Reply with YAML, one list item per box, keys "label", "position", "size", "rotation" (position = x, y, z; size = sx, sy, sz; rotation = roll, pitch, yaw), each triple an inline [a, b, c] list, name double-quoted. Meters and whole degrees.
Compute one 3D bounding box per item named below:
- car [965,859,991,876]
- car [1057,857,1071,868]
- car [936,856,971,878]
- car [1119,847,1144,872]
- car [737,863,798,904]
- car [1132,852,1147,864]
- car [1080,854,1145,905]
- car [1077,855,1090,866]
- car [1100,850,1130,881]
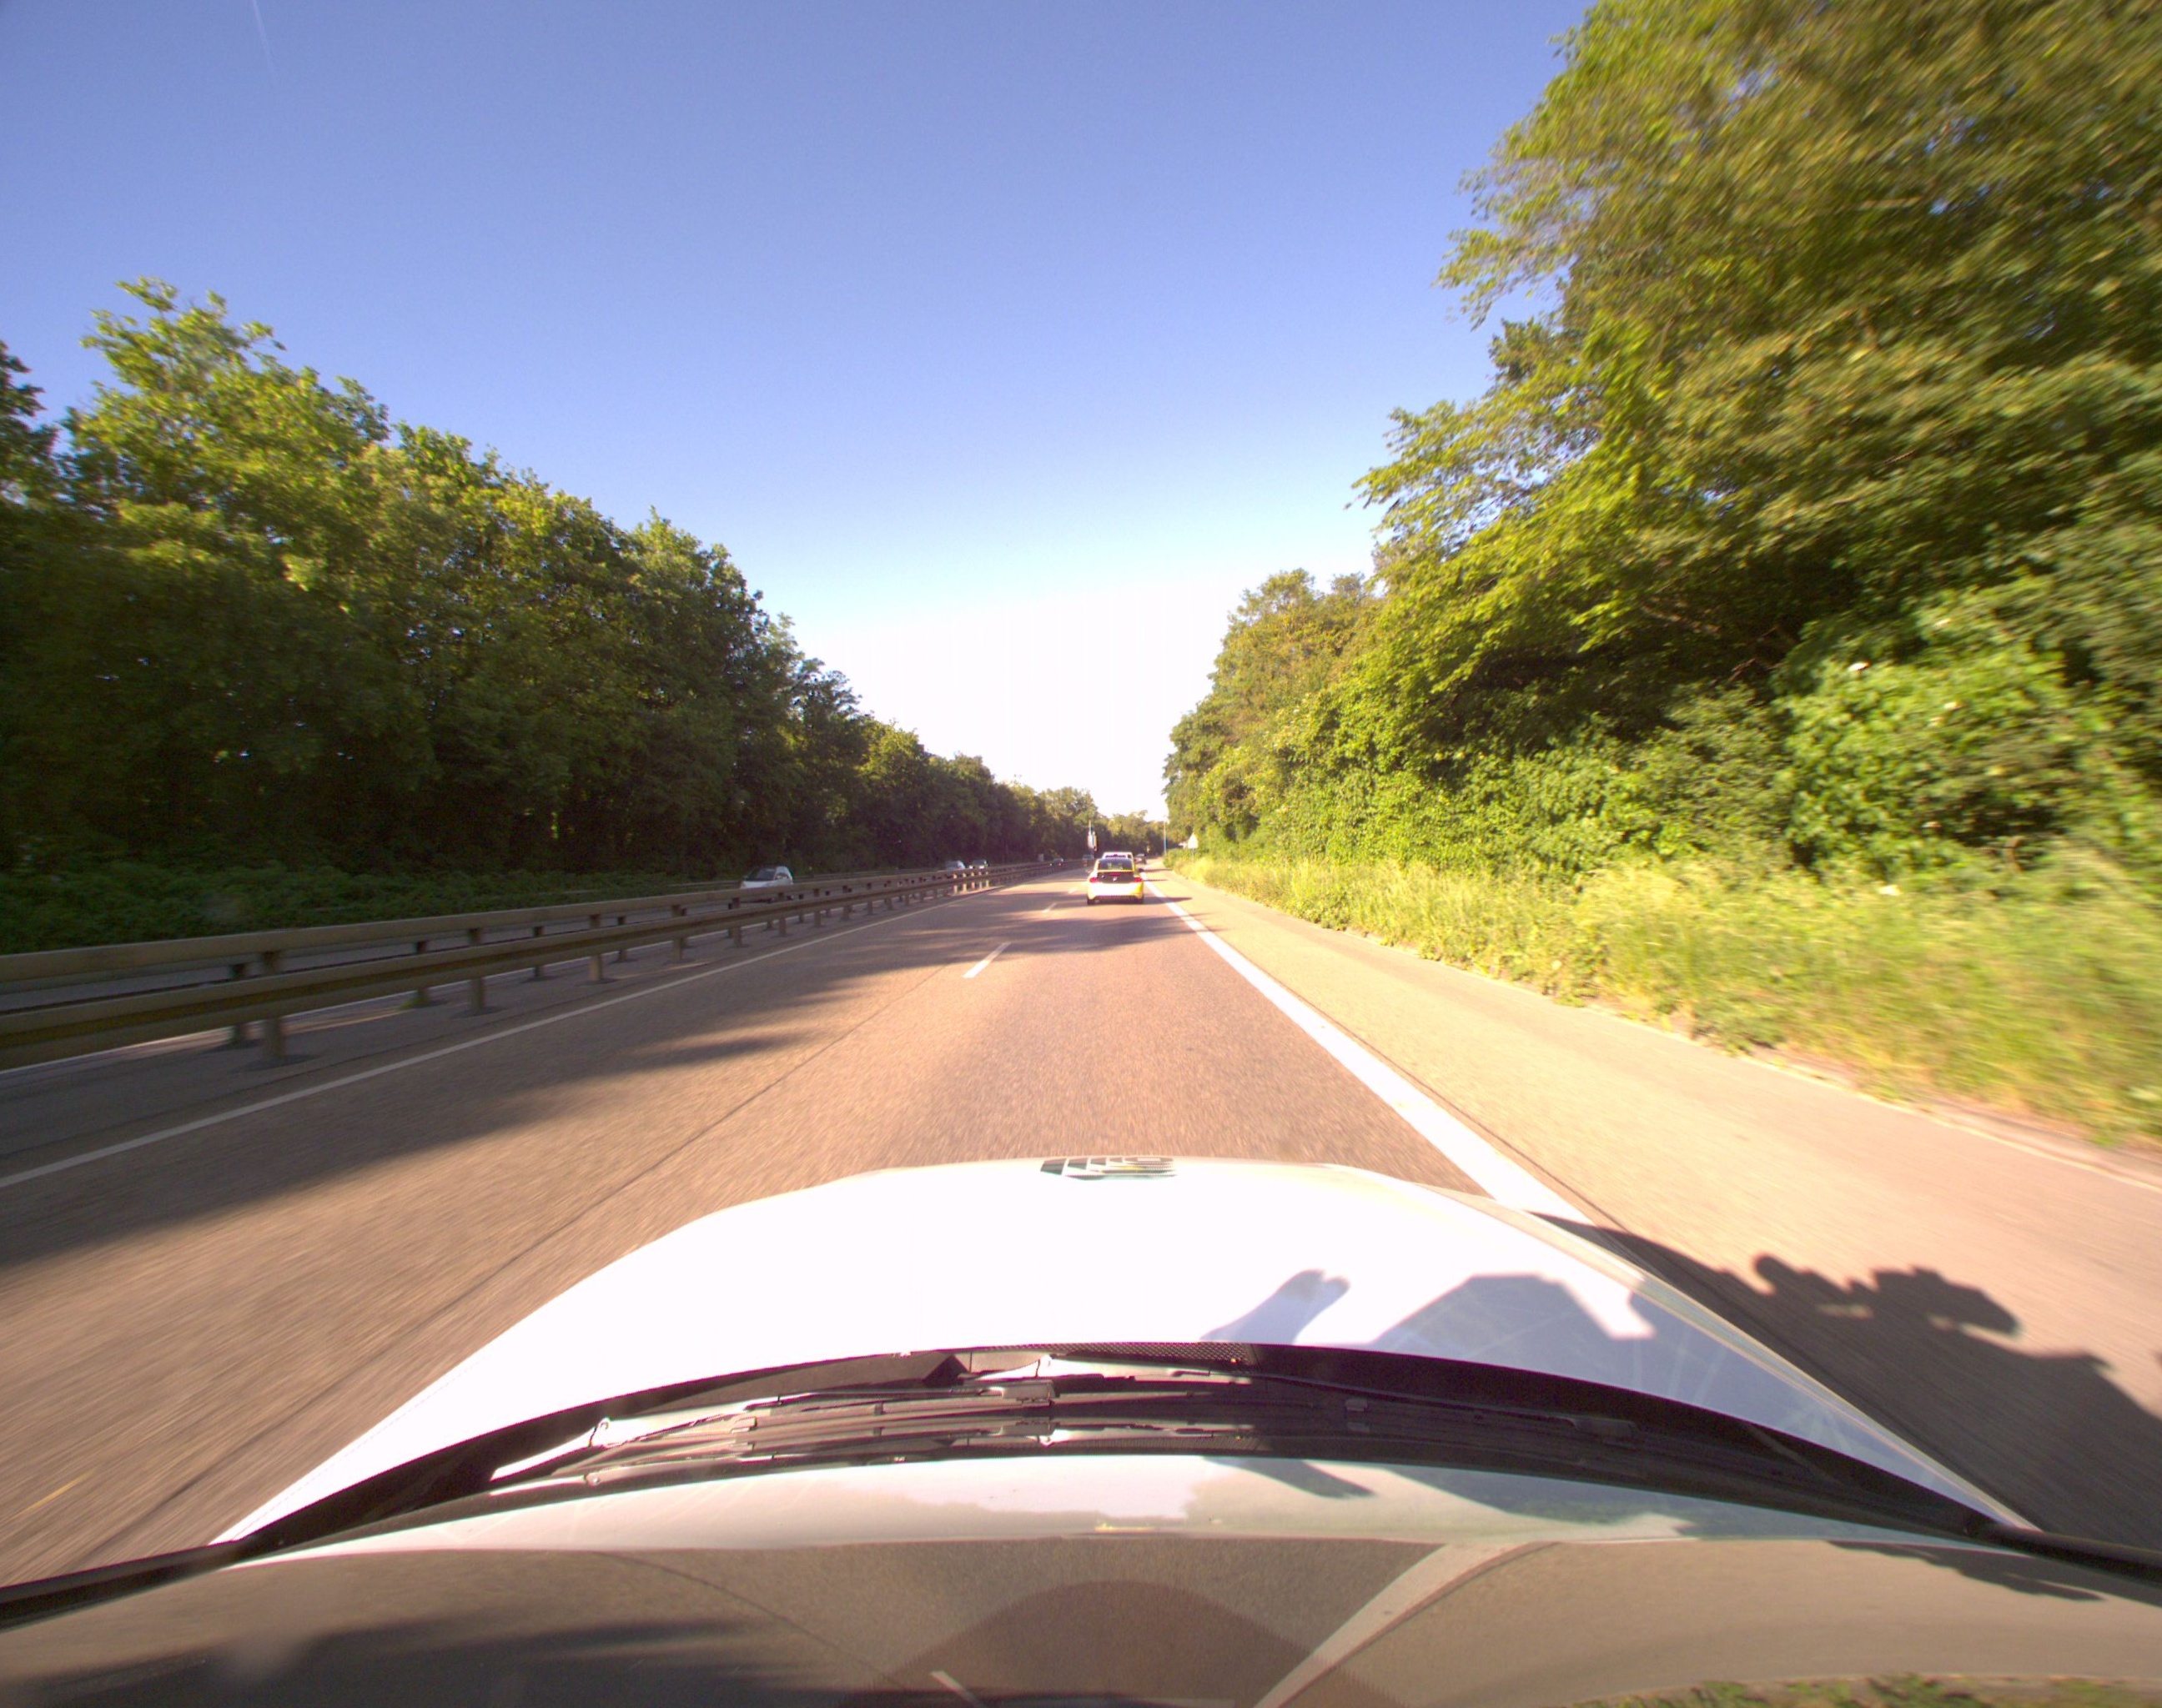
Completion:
- label: "car"
  position: [-10.943, 1.409, 86.587]
  size: [1.986, 1.585, 4.002]
  rotation: [-3, 0, 2]
- label: "car"
  position: [-2.432, 1.219, 118.295]
  size: [1.590, 1.453, 4.350]
  rotation: [-3, 0, 4]
- label: "car"
  position: [-11.015, 1.073, 70.681]
  size: [1.986, 1.750, 4.553]
  rotation: [-3, 0, 2]
- label: "car"
  position: [4.543, 0.490, 73.881]
  size: [1.986, 2.013, 4.001]
  rotation: [-3, 0, 2]
- label: "car"
  position: [-13.656, 1.256, 35.606]
  size: [1.408, 1.619, 2.876]
  rotation: [-2, 0, 2]
- label: "car"
  position: [9.356, 0.645, 130.687]
  size: [2.254, 1.875, 5.079]
  rotation: [-1, 0, 3]
- label: "car"
  position: [1.055, 0.762, 26.371]
  size: [1.931, 1.508, 3.425]
  rotation: [-1, 0, 3]
- label: "car"
  position: [0.474, 1.213, 154.609]
  size: [1.879, 1.903, 5.421]
  rotation: [-3, 0, 4]
- label: "car"
  position: [2.106, 0.655, 49.927]
  size: [1.733, 1.830, 3.426]
  rotation: [0, 0, 4]
